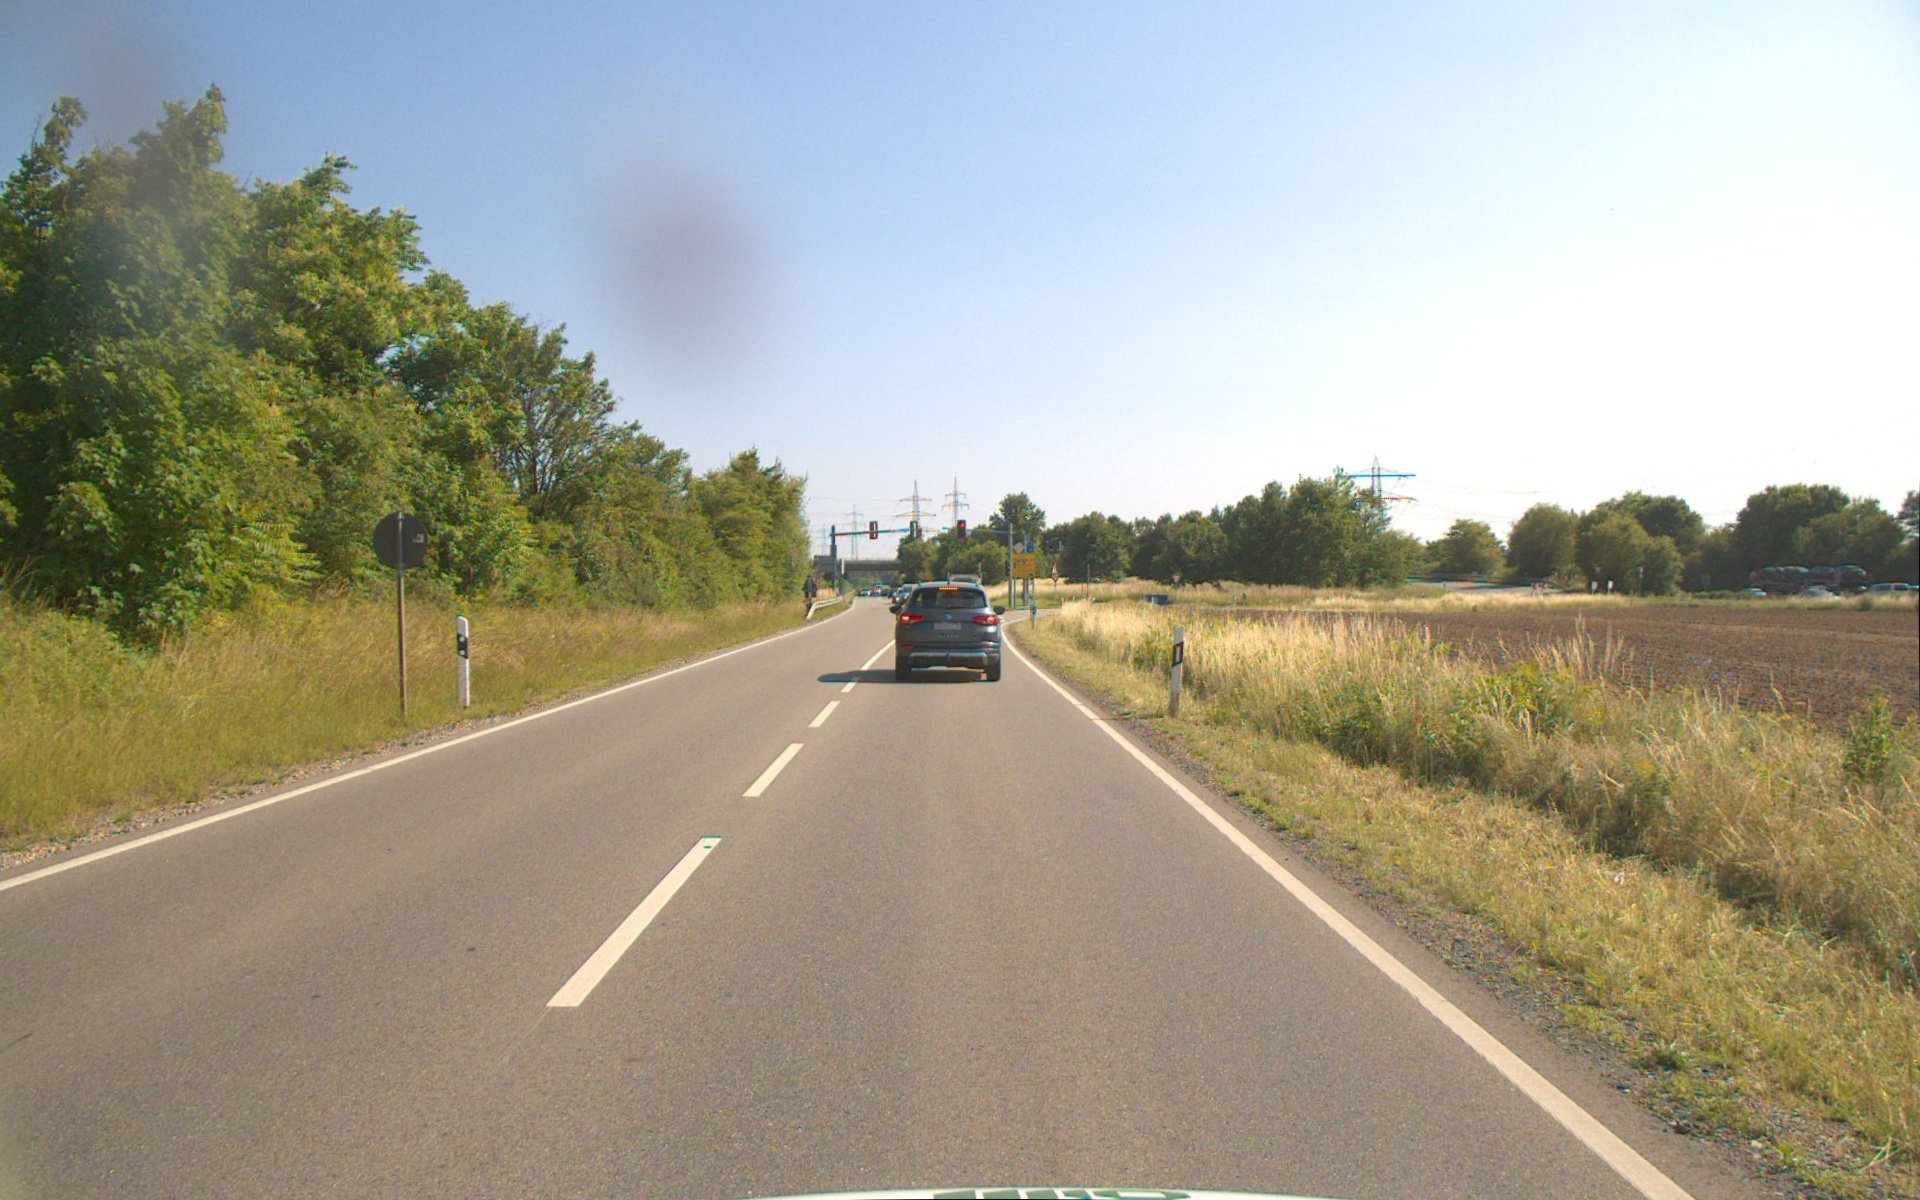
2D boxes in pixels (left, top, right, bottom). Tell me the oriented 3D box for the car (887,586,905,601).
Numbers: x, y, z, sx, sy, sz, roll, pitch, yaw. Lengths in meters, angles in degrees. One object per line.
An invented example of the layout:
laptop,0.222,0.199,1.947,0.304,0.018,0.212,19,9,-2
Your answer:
car,-6.275,-0.663,162.761,1.651,1.404,3.530,1,1,-4

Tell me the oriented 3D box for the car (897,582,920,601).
car,-4.456,-0.759,142.664,1.780,1.567,3.997,0,1,-4

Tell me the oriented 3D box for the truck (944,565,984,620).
truck,0.248,-0.436,97.118,2.289,3.119,5.809,1,0,0

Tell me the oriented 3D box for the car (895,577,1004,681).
car,-0.198,0.439,28.404,1.749,1.657,3.999,0,1,-1

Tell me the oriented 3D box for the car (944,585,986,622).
car,0.183,0.129,72.487,1.749,1.570,3.999,0,1,-1

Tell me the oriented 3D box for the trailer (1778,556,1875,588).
trailer,95.160,-3.095,182.030,3.218,3.324,13.449,0,1,-2

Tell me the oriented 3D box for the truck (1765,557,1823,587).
truck,94.970,-3.201,188.472,3.218,3.324,6.427,0,1,-2
